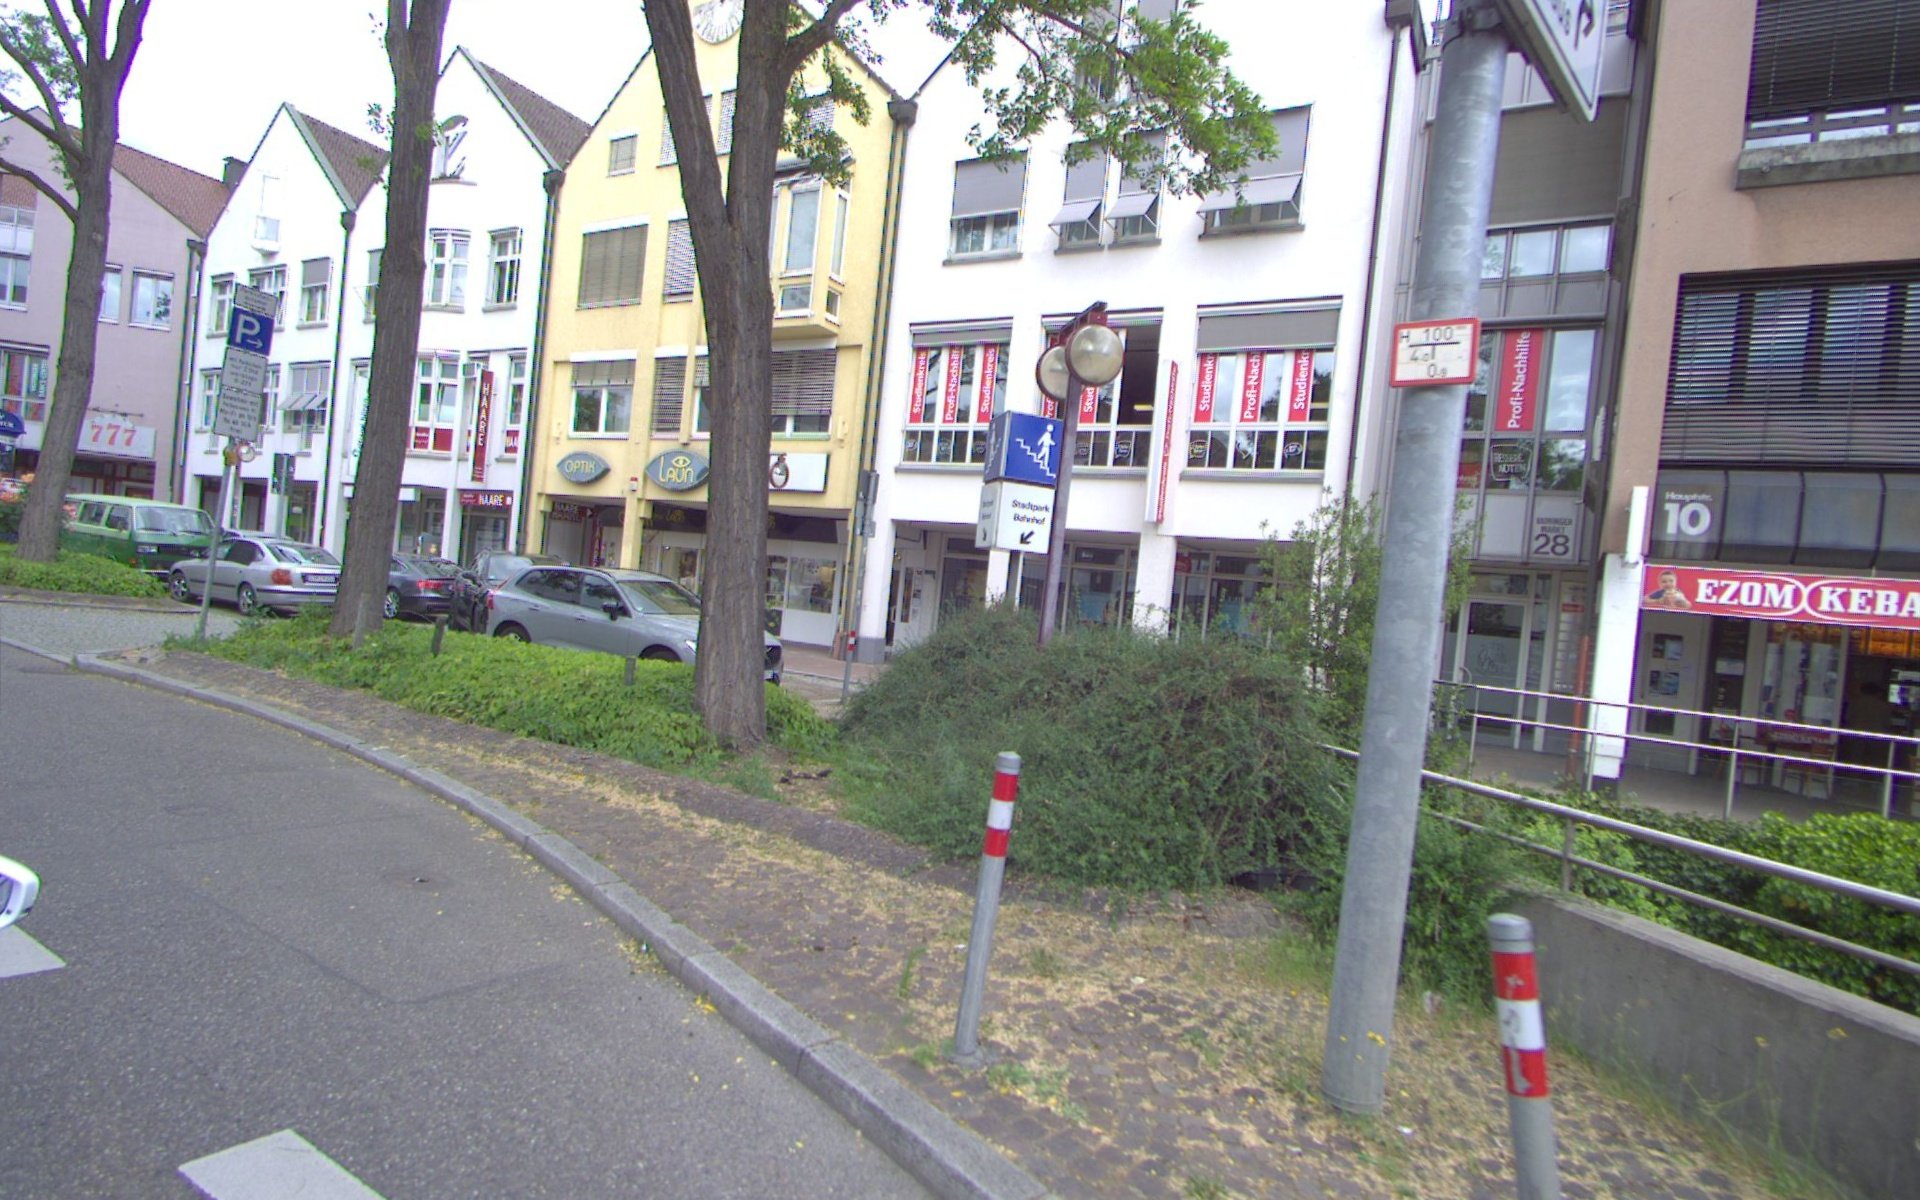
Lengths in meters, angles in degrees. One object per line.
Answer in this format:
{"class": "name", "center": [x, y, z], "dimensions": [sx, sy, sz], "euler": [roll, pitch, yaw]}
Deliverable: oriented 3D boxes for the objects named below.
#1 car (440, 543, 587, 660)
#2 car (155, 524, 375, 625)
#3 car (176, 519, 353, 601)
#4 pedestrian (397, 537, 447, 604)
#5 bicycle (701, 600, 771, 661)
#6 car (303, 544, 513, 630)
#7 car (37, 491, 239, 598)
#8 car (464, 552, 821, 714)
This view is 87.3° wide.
{"class": "car", "center": [-8.191, -0.058, 18.188], "dimensions": [1.838, 1.691, 4.626], "euler": [5, 1, -30]}
{"class": "car", "center": [-13.690, -0.511, 19.765], "dimensions": [4.344, 1.468, 1.765], "euler": [6, 0, 29]}
{"class": "car", "center": [-17.045, -0.990, 24.629], "dimensions": [4.319, 1.562, 1.798], "euler": [6, 1, 29]}
{"class": "pedestrian", "center": [-14.421, -0.777, 26.971], "dimensions": [0.805, 1.681, 0.789], "euler": [7, 2, 31]}
{"class": "bicycle", "center": [-4.452, 0.605, 19.966], "dimensions": [1.356, 1.058, 0.392], "euler": [6, 1, 31]}
{"class": "car", "center": [-12.125, -0.288, 22.048], "dimensions": [4.344, 1.394, 1.999], "euler": [6, 1, 29]}
{"class": "car", "center": [-18.199, -1.242, 22.228], "dimensions": [4.527, 1.900, 1.882], "euler": [6, 1, 29]}
{"class": "car", "center": [-4.511, 0.409, 14.161], "dimensions": [4.681, 1.615, 1.997], "euler": [6, 0, 28]}
